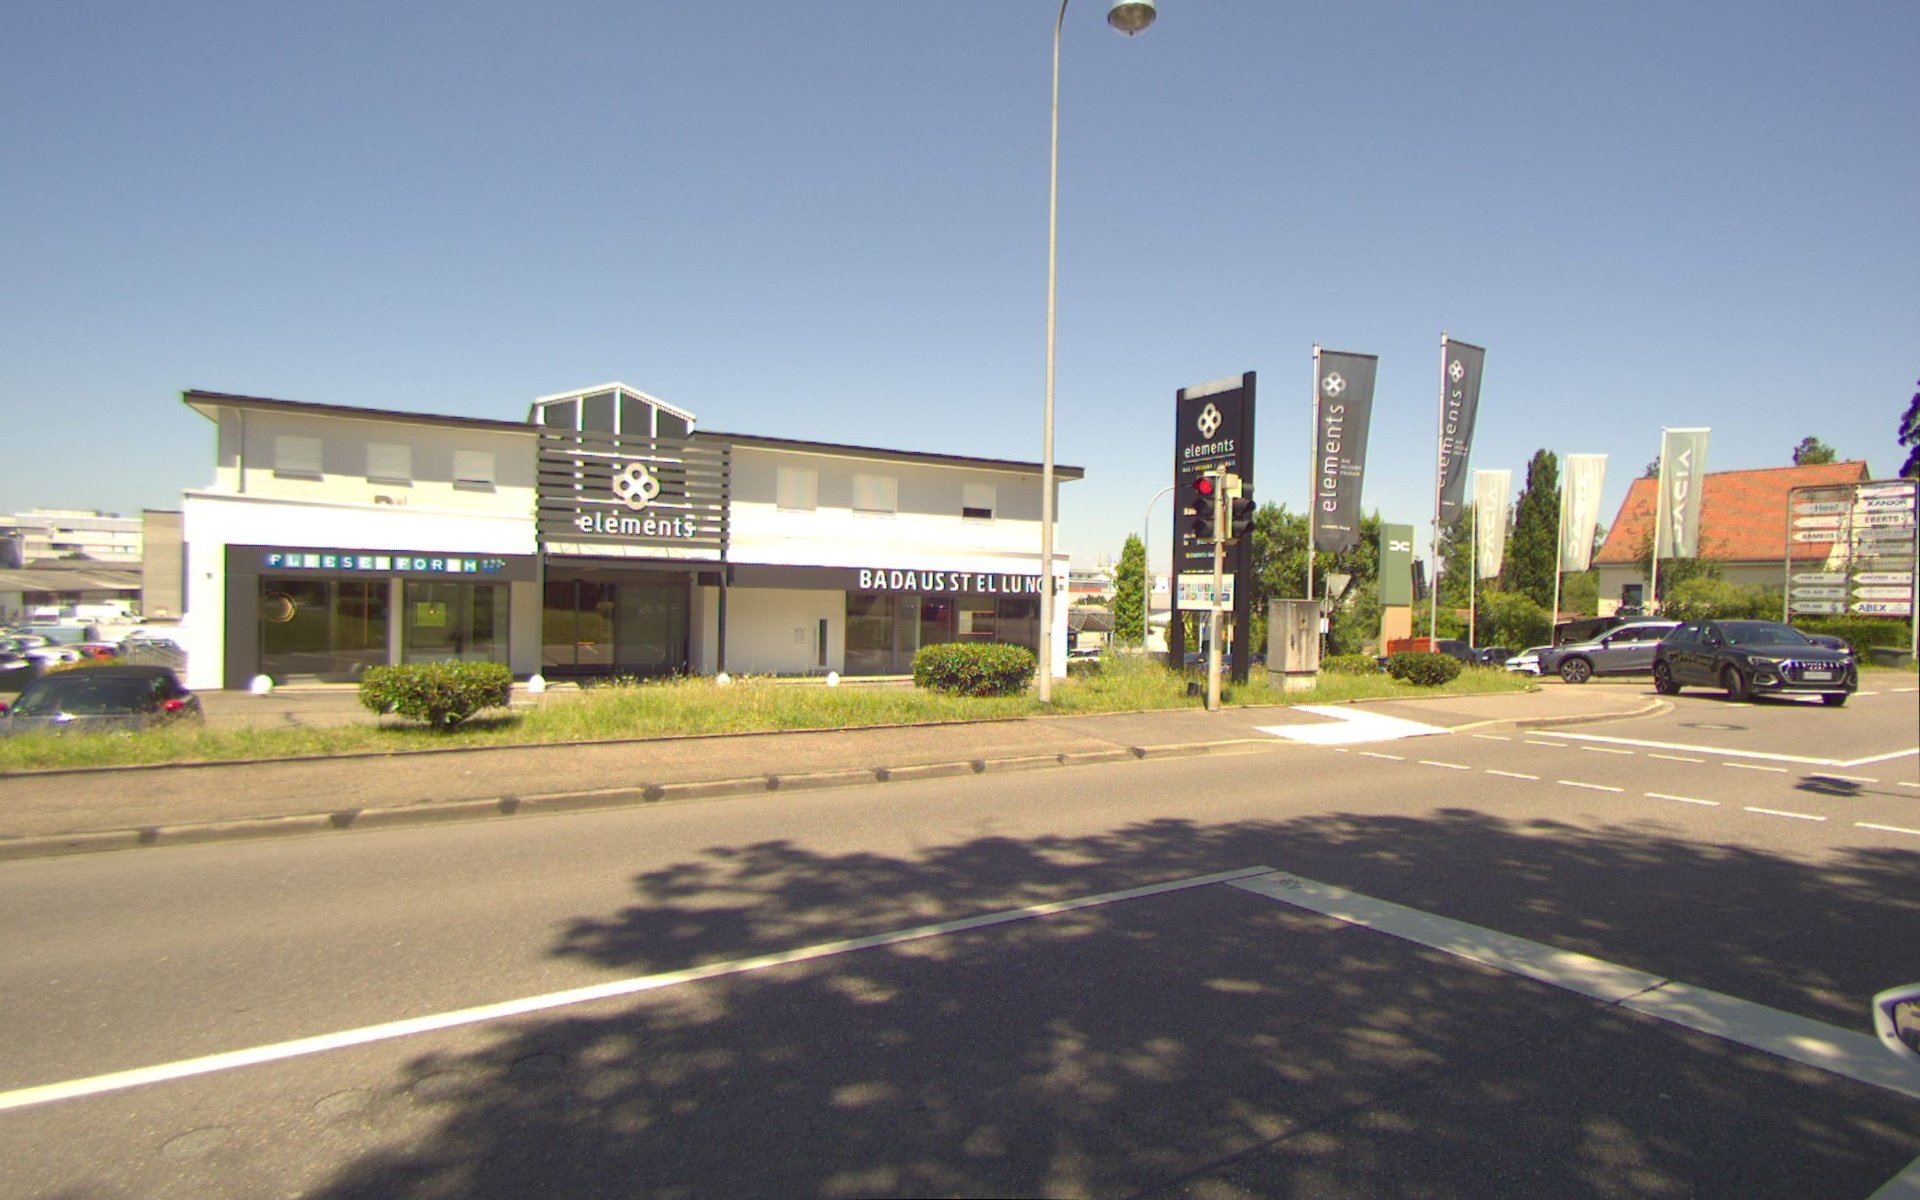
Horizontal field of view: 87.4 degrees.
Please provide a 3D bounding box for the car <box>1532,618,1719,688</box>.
[{"bbox_3d":[18.592,1.418,28.271,4.235,1.740,1.881,1,0,32],"label":"car"}]

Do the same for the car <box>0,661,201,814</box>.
[{"bbox_3d":[-10.869,1.574,12.376,1.756,1.442,3.327,1,0,-26],"label":"car"}]

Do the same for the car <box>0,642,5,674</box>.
[{"bbox_3d":[-49.408,2.860,49.358,3.283,1.567,1.517,2,0,-30],"label":"car"}]

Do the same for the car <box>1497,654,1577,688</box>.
[{"bbox_3d":[24.299,2.949,42.302,3.211,1.242,1.735,1,0,-35],"label":"car"}]

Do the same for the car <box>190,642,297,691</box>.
[{"bbox_3d":[-32.675,2.990,45.911,1.839,1.965,3.790,1,0,8],"label":"car"}]

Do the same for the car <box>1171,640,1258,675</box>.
[{"bbox_3d":[12.037,2.709,47.700,1.736,1.432,3.967,2,0,-30],"label":"car"}]

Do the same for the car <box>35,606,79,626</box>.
[{"bbox_3d":[-89.312,1.610,99.422,1.972,1.853,3.977,2,0,-23],"label":"car"}]

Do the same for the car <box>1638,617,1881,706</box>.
[{"bbox_3d":[15.642,1.168,19.996,1.889,1.546,4.311,1,-2,9],"label":"car"}]

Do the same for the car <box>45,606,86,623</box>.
[{"bbox_3d":[-84.894,1.369,95.368,1.975,1.617,3.972,1,-1,-27],"label":"car"}]

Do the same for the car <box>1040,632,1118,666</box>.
[{"bbox_3d":[6.020,2.464,51.346,1.973,1.507,4.281,1,0,-26],"label":"car"}]

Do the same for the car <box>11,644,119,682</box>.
[{"bbox_3d":[-41.393,2.894,46.561,3.427,1.614,1.712,2,0,-30],"label":"car"}]

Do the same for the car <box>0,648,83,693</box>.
[{"bbox_3d":[-40.142,2.991,42.882,3.773,1.750,1.738,2,0,-30],"label":"car"}]

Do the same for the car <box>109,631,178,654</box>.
[{"bbox_3d":[-48.857,2.563,60.174,3.009,1.316,1.295,2,0,-31],"label":"car"}]

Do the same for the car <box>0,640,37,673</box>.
[{"bbox_3d":[-51.808,2.979,53.173,3.953,1.627,1.823,2,0,-30],"label":"car"}]

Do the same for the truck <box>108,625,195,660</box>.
[{"bbox_3d":[-50.085,2.636,62.338,3.938,2.003,1.672,2,0,-31],"label":"truck"}]

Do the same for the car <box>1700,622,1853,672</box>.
[{"bbox_3d":[25.517,1.425,31.464,1.586,1.446,3.466,1,-1,-36],"label":"car"}]

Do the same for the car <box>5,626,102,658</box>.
[{"bbox_3d":[-54.326,2.487,60.293,3.953,1.839,1.984,1,-1,-30],"label":"car"}]

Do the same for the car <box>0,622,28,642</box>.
[{"bbox_3d":[-72.654,2.397,75.791,3.089,1.403,1.672,2,0,-30],"label":"car"}]

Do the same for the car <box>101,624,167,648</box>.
[{"bbox_3d":[-54.837,2.392,66.724,3.089,1.554,1.672,2,0,-30],"label":"car"}]
